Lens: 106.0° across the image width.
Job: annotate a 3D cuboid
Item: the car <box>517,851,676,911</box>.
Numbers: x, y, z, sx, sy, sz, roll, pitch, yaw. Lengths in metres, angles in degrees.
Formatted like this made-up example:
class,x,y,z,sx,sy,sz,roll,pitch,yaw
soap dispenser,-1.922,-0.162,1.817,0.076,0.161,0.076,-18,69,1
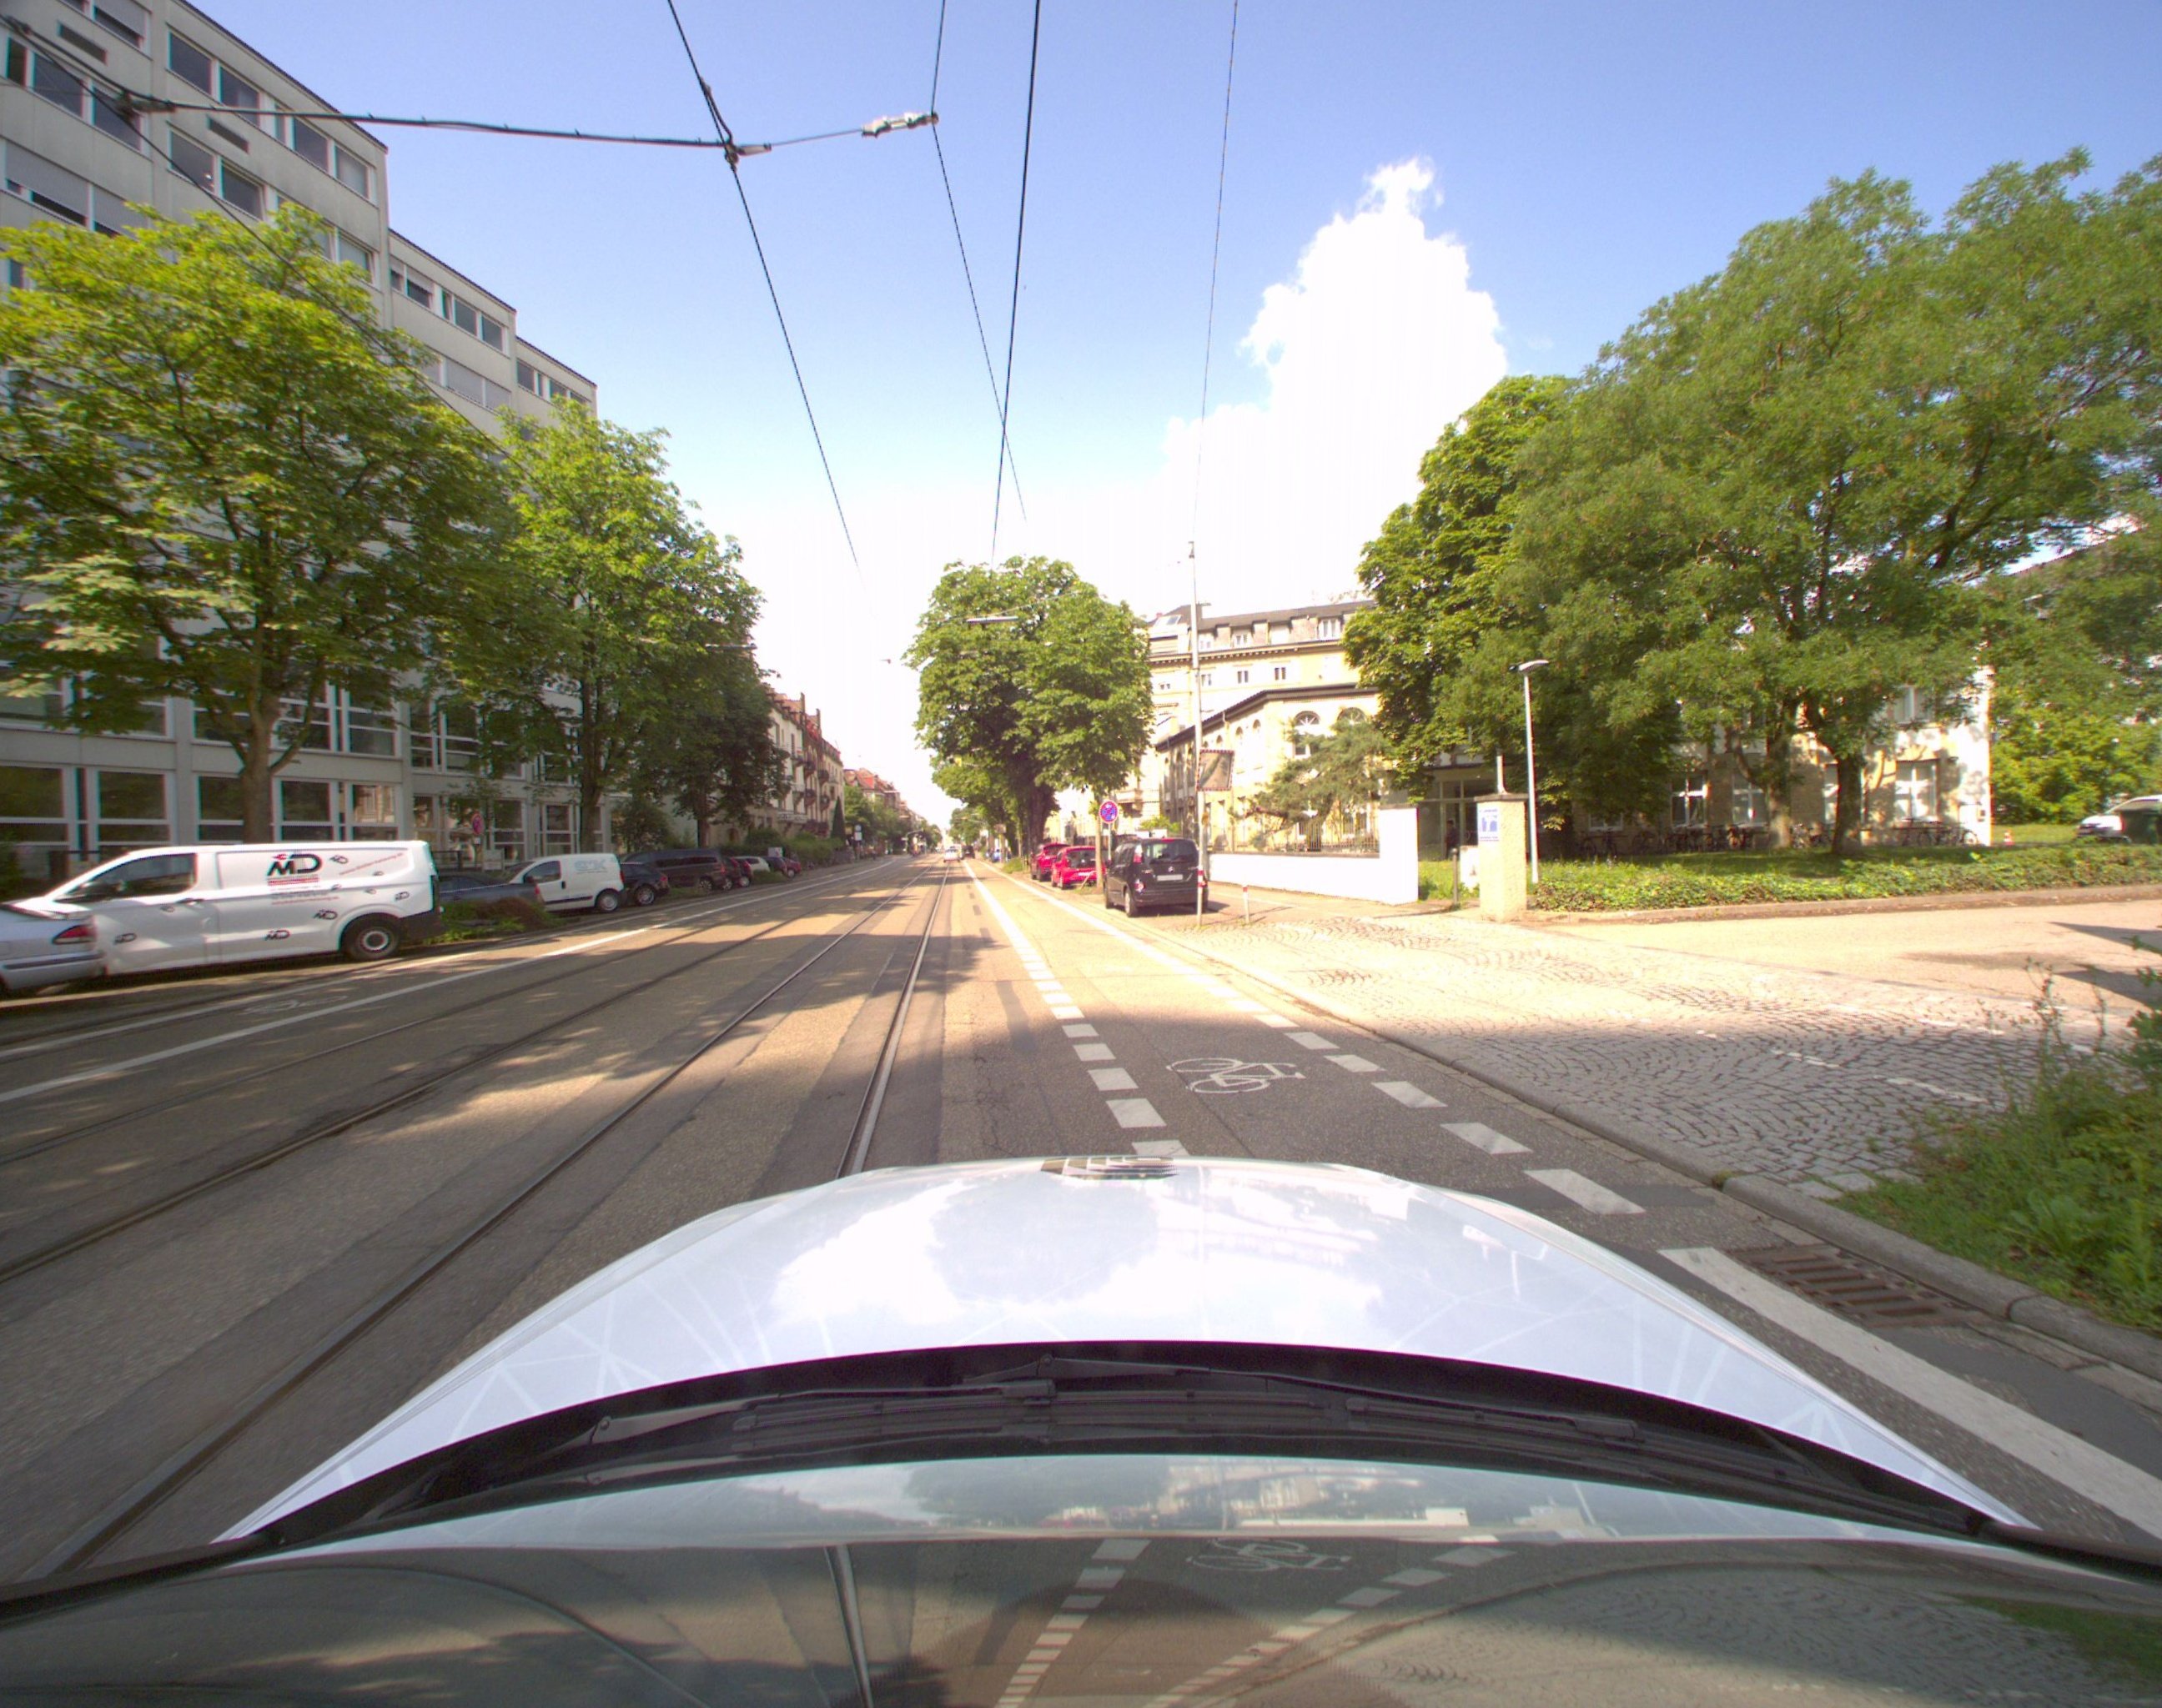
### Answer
class,x,y,z,sx,sy,sz,roll,pitch,yaw
car,-14.932,0.794,25.290,1.859,1.712,3.782,0,-1,35

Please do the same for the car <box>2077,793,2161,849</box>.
class,x,y,z,sx,sy,sz,roll,pitch,yaw
car,42.374,-1.315,31.209,4.897,1.965,2.009,-2,-4,20

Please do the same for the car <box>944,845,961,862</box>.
class,x,y,z,sx,sy,sz,roll,pitch,yaw
car,-13.166,-0.071,83.301,1.621,1.684,3.553,1,-1,-9

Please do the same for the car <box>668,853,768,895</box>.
class,x,y,z,sx,sy,sz,roll,pitch,yaw
car,-15.951,0.860,35.906,1.613,1.577,3.627,-2,1,42

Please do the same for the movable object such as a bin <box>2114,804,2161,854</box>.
class,x,y,z,sx,sy,sz,roll,pitch,yaw
movable object such as a bin,30.792,-0.698,23.246,0.937,1.349,1.386,0,-1,12

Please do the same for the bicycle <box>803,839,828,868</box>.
class,x,y,z,sx,sy,sz,roll,pitch,yaw
bicycle,-21.742,-0.002,66.776,0.936,2.319,3.995,1,-1,-3

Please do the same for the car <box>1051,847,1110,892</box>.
class,x,y,z,sx,sy,sz,roll,pitch,yaw
car,-0.082,0.536,29.549,1.666,1.486,3.269,-1,0,-9

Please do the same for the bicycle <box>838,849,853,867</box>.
class,x,y,z,sx,sy,sz,roll,pitch,yaw
bicycle,-24.695,0.441,85.458,0.936,1.918,2.496,1,-1,-3

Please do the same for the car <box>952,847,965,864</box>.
class,x,y,z,sx,sy,sz,roll,pitch,yaw
car,-15.236,0.184,101.197,1.621,2.000,3.553,1,-1,-9

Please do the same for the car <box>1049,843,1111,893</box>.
class,x,y,z,sx,sy,sz,roll,pitch,yaw
car,-0.096,0.452,29.354,1.674,1.611,3.573,-2,1,-9

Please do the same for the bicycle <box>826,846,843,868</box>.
class,x,y,z,sx,sy,sz,roll,pitch,yaw
bicycle,-23.494,0.274,77.666,0.936,2.079,2.496,1,-1,-3

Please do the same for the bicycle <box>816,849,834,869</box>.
class,x,y,z,sx,sy,sz,roll,pitch,yaw
bicycle,-22.742,0.431,72.454,0.936,1.746,2.281,1,-1,-3

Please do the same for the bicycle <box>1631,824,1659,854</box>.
class,x,y,z,sx,sy,sz,roll,pitch,yaw
bicycle,21.691,-0.550,31.349,0.415,1.056,2.078,-4,-2,22

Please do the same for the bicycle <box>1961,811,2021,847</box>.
class,x,y,z,sx,sy,sz,roll,pitch,yaw
bicycle,30.344,-0.814,27.186,0.415,1.056,2.078,-4,-2,22

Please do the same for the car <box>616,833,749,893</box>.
class,x,y,z,sx,sy,sz,roll,pitch,yaw
car,-15.665,0.383,32.222,1.859,2.081,4.230,3,-2,35

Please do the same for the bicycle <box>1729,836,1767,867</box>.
class,x,y,z,sx,sy,sz,roll,pitch,yaw
bicycle,24.594,-0.076,30.060,0.415,1.056,2.078,-4,-2,22

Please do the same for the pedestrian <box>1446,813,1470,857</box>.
class,x,y,z,sx,sy,sz,roll,pitch,yaw
pedestrian,14.746,-0.743,31.856,0.764,1.678,0.812,0,-1,18

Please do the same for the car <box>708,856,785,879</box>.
class,x,y,z,sx,sy,sz,roll,pitch,yaw
car,-19.464,0.797,47.482,1.617,1.306,3.809,0,-1,42

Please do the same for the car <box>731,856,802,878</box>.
class,x,y,z,sx,sy,sz,roll,pitch,yaw
car,-19.518,0.838,50.686,1.617,1.306,3.809,0,-1,42

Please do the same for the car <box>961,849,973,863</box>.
class,x,y,z,sx,sy,sz,roll,pitch,yaw
car,-15.749,0.287,112.636,1.621,1.849,3.553,1,-1,-9

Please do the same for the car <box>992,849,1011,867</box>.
class,x,y,z,sx,sy,sz,roll,pitch,yaw
car,-7.639,0.376,77.766,1.621,1.684,3.553,1,-1,-9

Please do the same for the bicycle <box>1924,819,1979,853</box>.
class,x,y,z,sx,sy,sz,roll,pitch,yaw
bicycle,30.039,-0.596,28.135,0.415,1.056,2.078,-4,-2,22

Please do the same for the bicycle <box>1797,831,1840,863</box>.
class,x,y,z,sx,sy,sz,roll,pitch,yaw
bicycle,26.496,-0.228,29.283,0.415,1.056,2.078,-4,-2,22

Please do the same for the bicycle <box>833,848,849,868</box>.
class,x,y,z,sx,sy,sz,roll,pitch,yaw
bicycle,-23.777,0.391,80.848,0.936,1.918,2.496,1,-1,-3

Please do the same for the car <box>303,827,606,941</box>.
class,x,y,z,sx,sy,sz,roll,pitch,yaw
car,-12.602,0.546,16.664,1.879,1.998,4.602,0,-1,40

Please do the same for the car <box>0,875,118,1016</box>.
class,x,y,z,sx,sy,sz,roll,pitch,yaw
car,-13.011,1.056,8.443,1.703,1.475,3.808,-2,1,38

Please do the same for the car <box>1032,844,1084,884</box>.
class,x,y,z,sx,sy,sz,roll,pitch,yaw
car,-1.083,0.449,36.386,1.958,1.706,3.990,1,-1,-7

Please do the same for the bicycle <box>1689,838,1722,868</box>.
class,x,y,z,sx,sy,sz,roll,pitch,yaw
bicycle,23.325,-0.034,30.449,0.415,1.056,2.078,-4,-2,22

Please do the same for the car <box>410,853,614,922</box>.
class,x,y,z,sx,sy,sz,roll,pitch,yaw
car,-13.639,0.779,19.716,1.740,1.501,3.659,-1,-2,33

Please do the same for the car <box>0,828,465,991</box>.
class,x,y,z,sx,sy,sz,roll,pitch,yaw
car,-12.627,0.650,12.492,1.907,1.912,4.672,-1,2,40

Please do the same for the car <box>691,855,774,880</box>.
class,x,y,z,sx,sy,sz,roll,pitch,yaw
car,-19.020,0.766,44.538,1.617,1.306,3.809,0,-1,42

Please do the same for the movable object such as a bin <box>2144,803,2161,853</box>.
class,x,y,z,sx,sy,sz,roll,pitch,yaw
movable object such as a bin,29.978,-0.709,22.000,0.937,1.349,1.238,0,-1,12

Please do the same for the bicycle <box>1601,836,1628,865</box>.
class,x,y,z,sx,sy,sz,roll,pitch,yaw
bicycle,20.615,-0.110,31.499,0.415,1.056,2.078,-4,-2,22

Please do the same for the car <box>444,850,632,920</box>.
class,x,y,z,sx,sy,sz,roll,pitch,yaw
car,-14.566,0.800,22.018,1.859,1.712,3.782,0,-1,35

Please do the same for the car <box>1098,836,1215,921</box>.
class,x,y,z,sx,sy,sz,roll,pitch,yaw
car,1.545,0.470,17.886,1.674,1.611,3.573,-2,1,-9

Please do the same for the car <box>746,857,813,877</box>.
class,x,y,z,sx,sy,sz,roll,pitch,yaw
car,-19.822,0.877,53.679,1.617,1.306,3.809,0,-1,42

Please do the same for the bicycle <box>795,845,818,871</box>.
class,x,y,z,sx,sy,sz,roll,pitch,yaw
bicycle,-21.450,0.351,63.680,0.936,1.970,2.737,1,-1,-3
